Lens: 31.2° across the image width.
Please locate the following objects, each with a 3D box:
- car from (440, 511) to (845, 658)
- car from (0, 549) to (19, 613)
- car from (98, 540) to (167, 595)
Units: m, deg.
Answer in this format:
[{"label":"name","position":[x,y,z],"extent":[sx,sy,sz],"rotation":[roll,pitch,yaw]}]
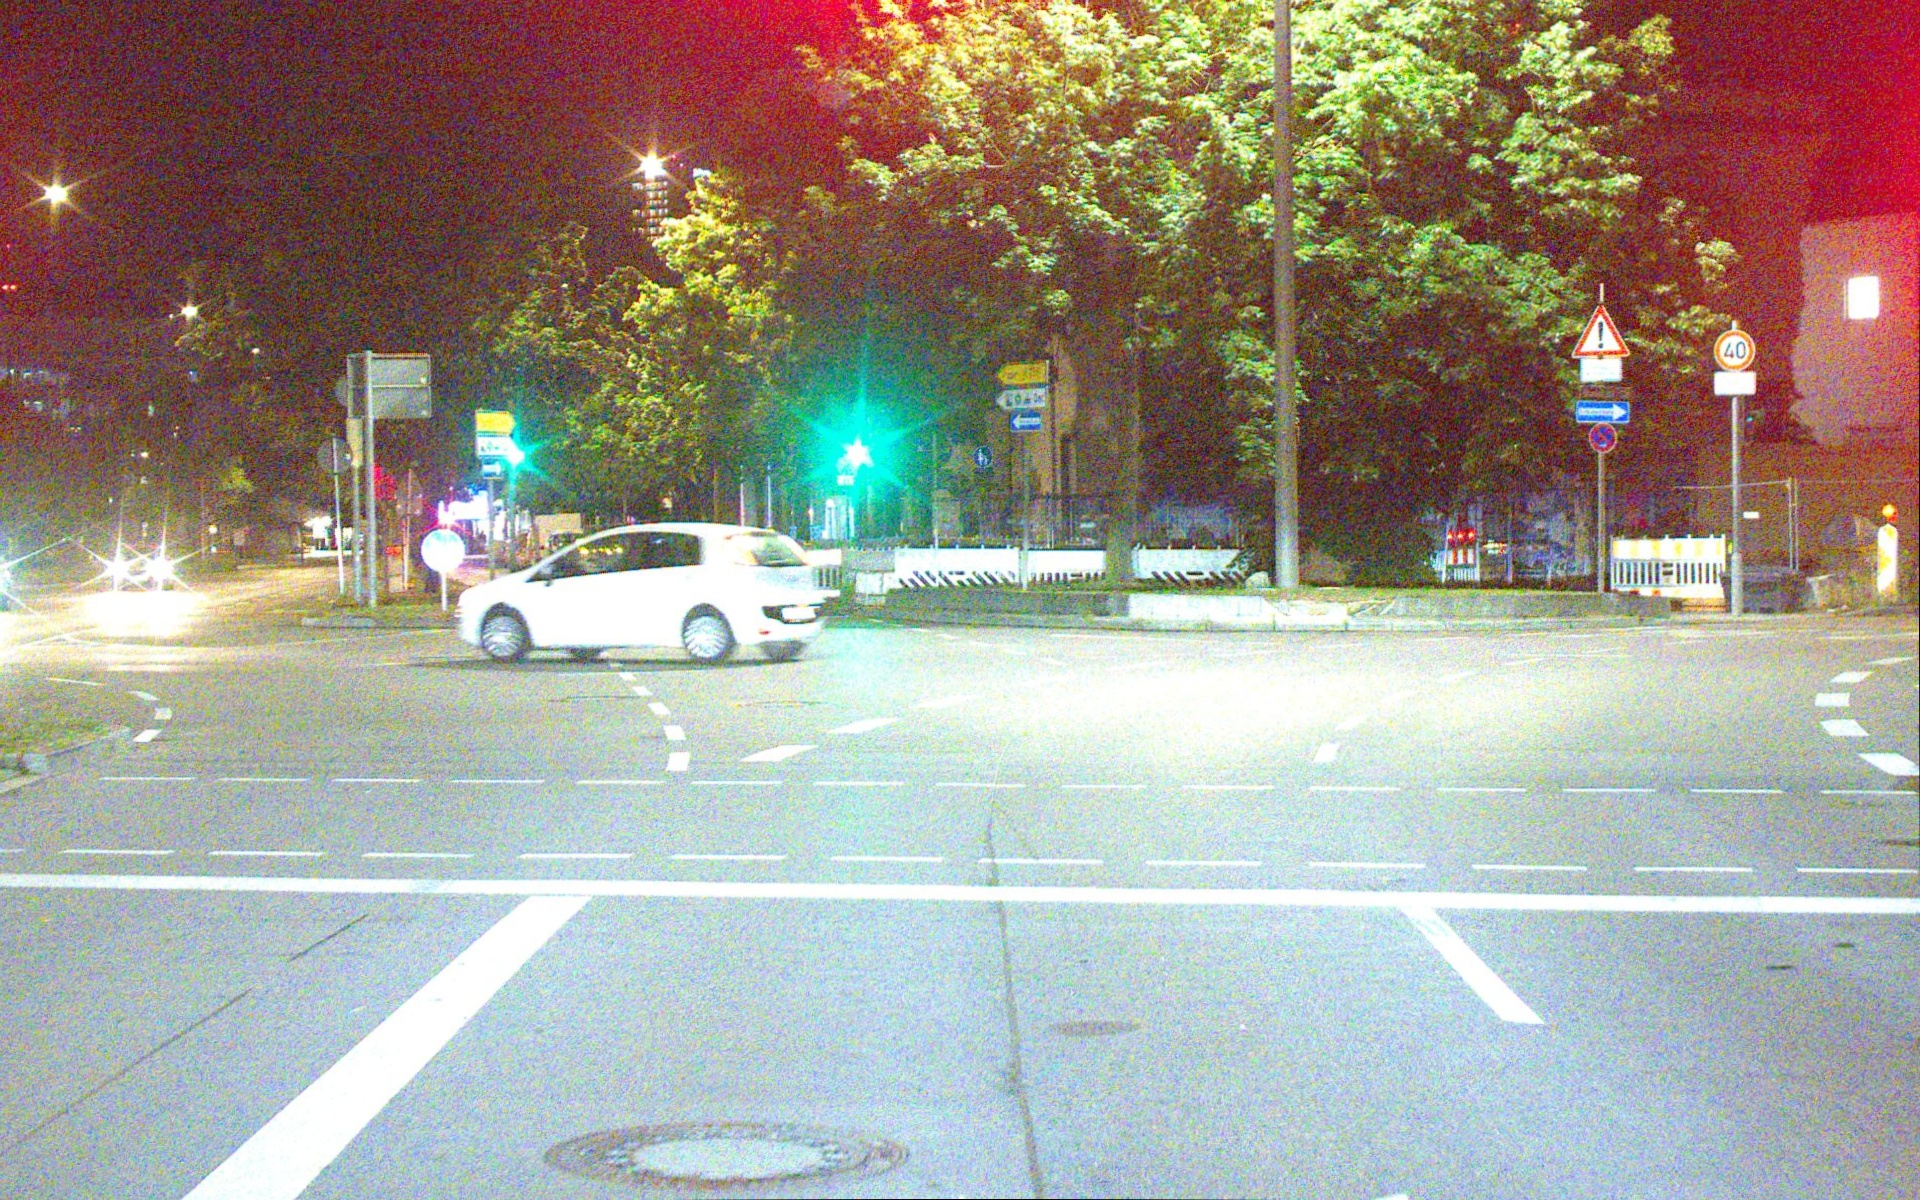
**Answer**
[{"label":"car","position":[-3.378,-0.164,36.457],"extent":[3.993,1.486,1.706],"rotation":[0,1,29]},{"label":"car","position":[-20.864,-0.399,72.007],"extent":[1.757,1.317,3.548],"rotation":[0,1,-7]},{"label":"car","position":[-26.407,-1.034,109.800],"extent":[1.757,1.722,3.548],"rotation":[0,1,-7]}]
